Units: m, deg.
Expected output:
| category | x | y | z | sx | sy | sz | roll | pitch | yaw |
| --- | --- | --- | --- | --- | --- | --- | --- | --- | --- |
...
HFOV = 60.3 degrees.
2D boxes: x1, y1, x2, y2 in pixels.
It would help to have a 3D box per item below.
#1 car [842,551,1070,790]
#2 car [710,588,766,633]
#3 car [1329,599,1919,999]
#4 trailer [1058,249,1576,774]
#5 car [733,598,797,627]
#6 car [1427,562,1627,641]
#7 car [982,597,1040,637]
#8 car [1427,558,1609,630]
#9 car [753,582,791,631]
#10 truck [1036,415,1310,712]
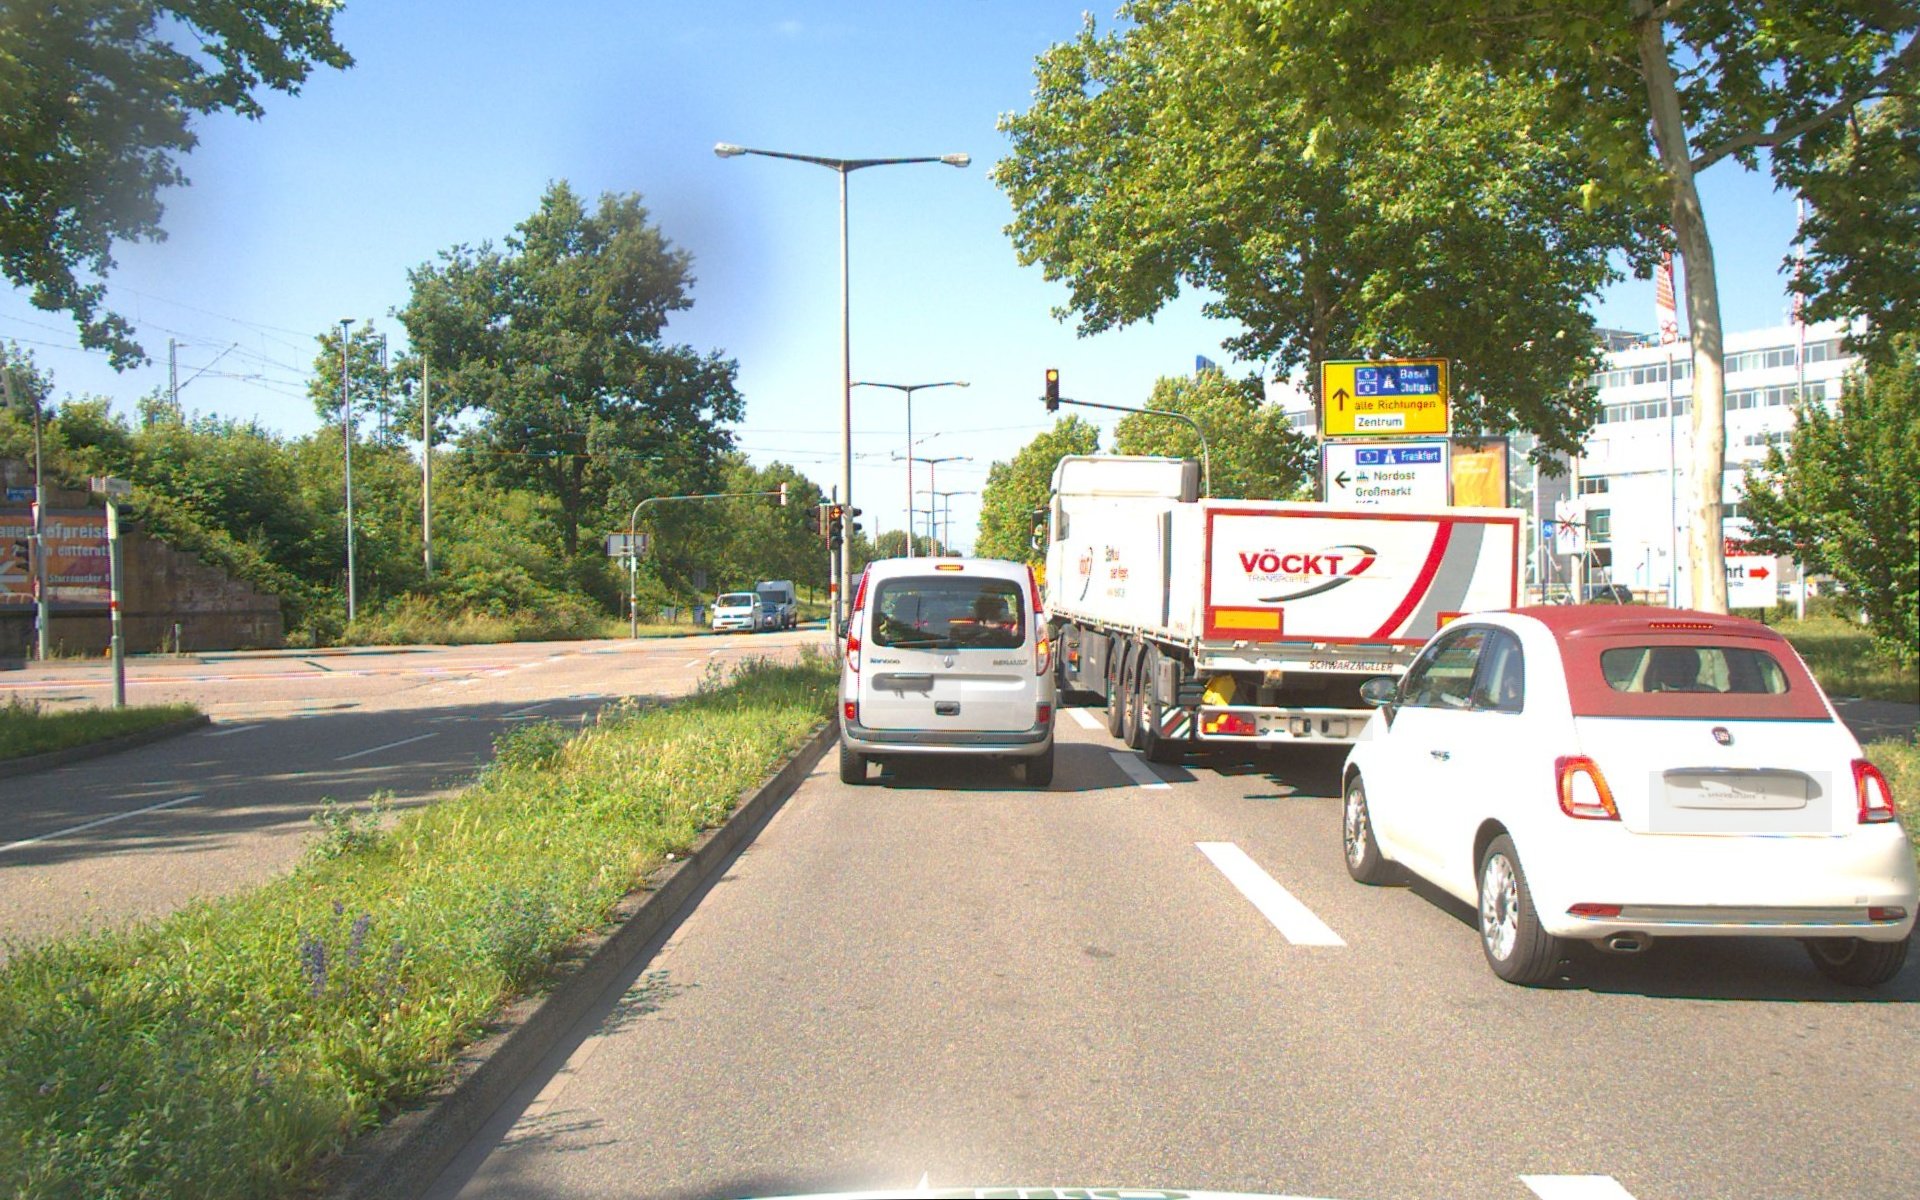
| category | x | y | z | sx | sy | sz | roll | pitch | yaw |
| --- | --- | --- | --- | --- | --- | --- | --- | --- | --- |
| car | -0.064 | 0.540 | 14.546 | 1.713 | 1.803 | 3.948 | 0 | 0 | -1 |
| car | -10.190 | 0.466 | 76.184 | 1.953 | 1.924 | 4.986 | -3 | 0 | -2 |
| car | 2.946 | 0.739 | 7.866 | 1.627 | 1.461 | 3.520 | 0 | 0 | 1 |
| trailer | 2.979 | -0.625 | 18.203 | 2.954 | 3.806 | 12.238 | 0 | 0 | 0 |
| car | -9.957 | 0.626 | 84.132 | 1.889 | 1.433 | 4.190 | 1 | 0 | -27 |
| car | 12.516 | 0.036 | 36.683 | 3.903 | 1.691 | 1.724 | 0 | 0 | 5 |
| car | 2.172 | 0.707 | 71.318 | 1.955 | 1.668 | 3.995 | 1 | 0 | -6 |
| car | 13.563 | -0.135 | 40.377 | 3.903 | 1.691 | 1.724 | 0 | 0 | 5 |
| car | -10.427 | 0.357 | 91.823 | 2.019 | 2.660 | 5.861 | 1 | 0 | -7 |
| truck | 2.941 | -0.457 | 25.193 | 3.009 | 3.824 | 7.473 | 0 | 0 | -2 |
